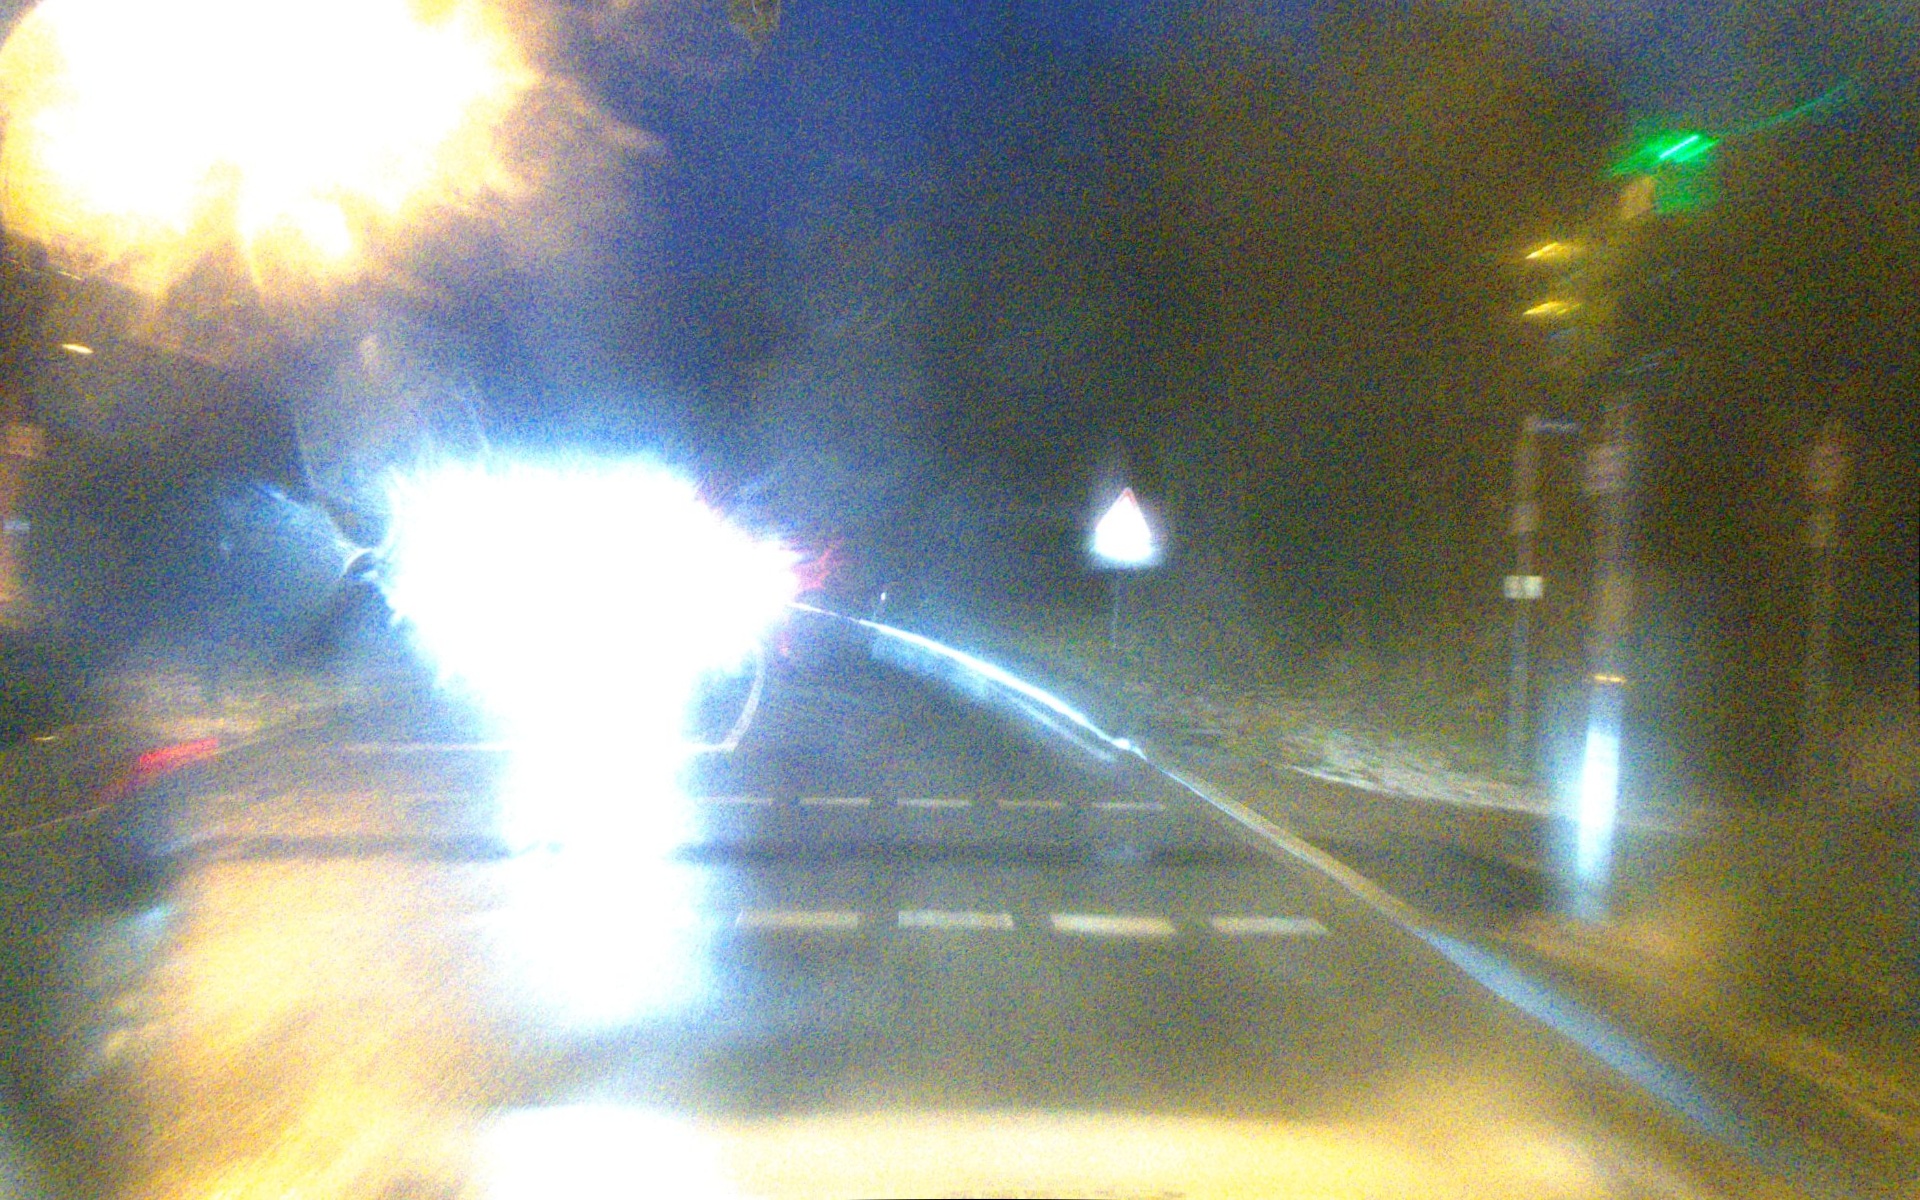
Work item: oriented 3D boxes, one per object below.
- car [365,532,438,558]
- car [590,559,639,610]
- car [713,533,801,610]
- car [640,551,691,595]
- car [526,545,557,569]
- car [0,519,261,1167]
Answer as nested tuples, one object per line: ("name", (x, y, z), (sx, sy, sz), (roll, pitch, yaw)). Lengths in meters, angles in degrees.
("car", (-40.114, -3.942, 118.786), (4.848, 1.765, 1.985), (0, 2, -24))
("car", (-15.165, -0.650, 72.506), (1.959, 2.049, 4.830), (3, -1, -12))
("car", (-7.180, -1.067, 58.015), (2.495, 2.541, 5.697), (0, 2, -13))
("car", (-15.051, -1.350, 84.349), (1.963, 2.049, 3.978), (3, -2, -18))
("car", (-27.361, -2.808, 108.063), (1.611, 1.536, 4.072), (-1, 2, -20))
("car", (-3.070, 0.587, 3.445), (1.602, 1.537, 4.115), (-1, 0, -2))
